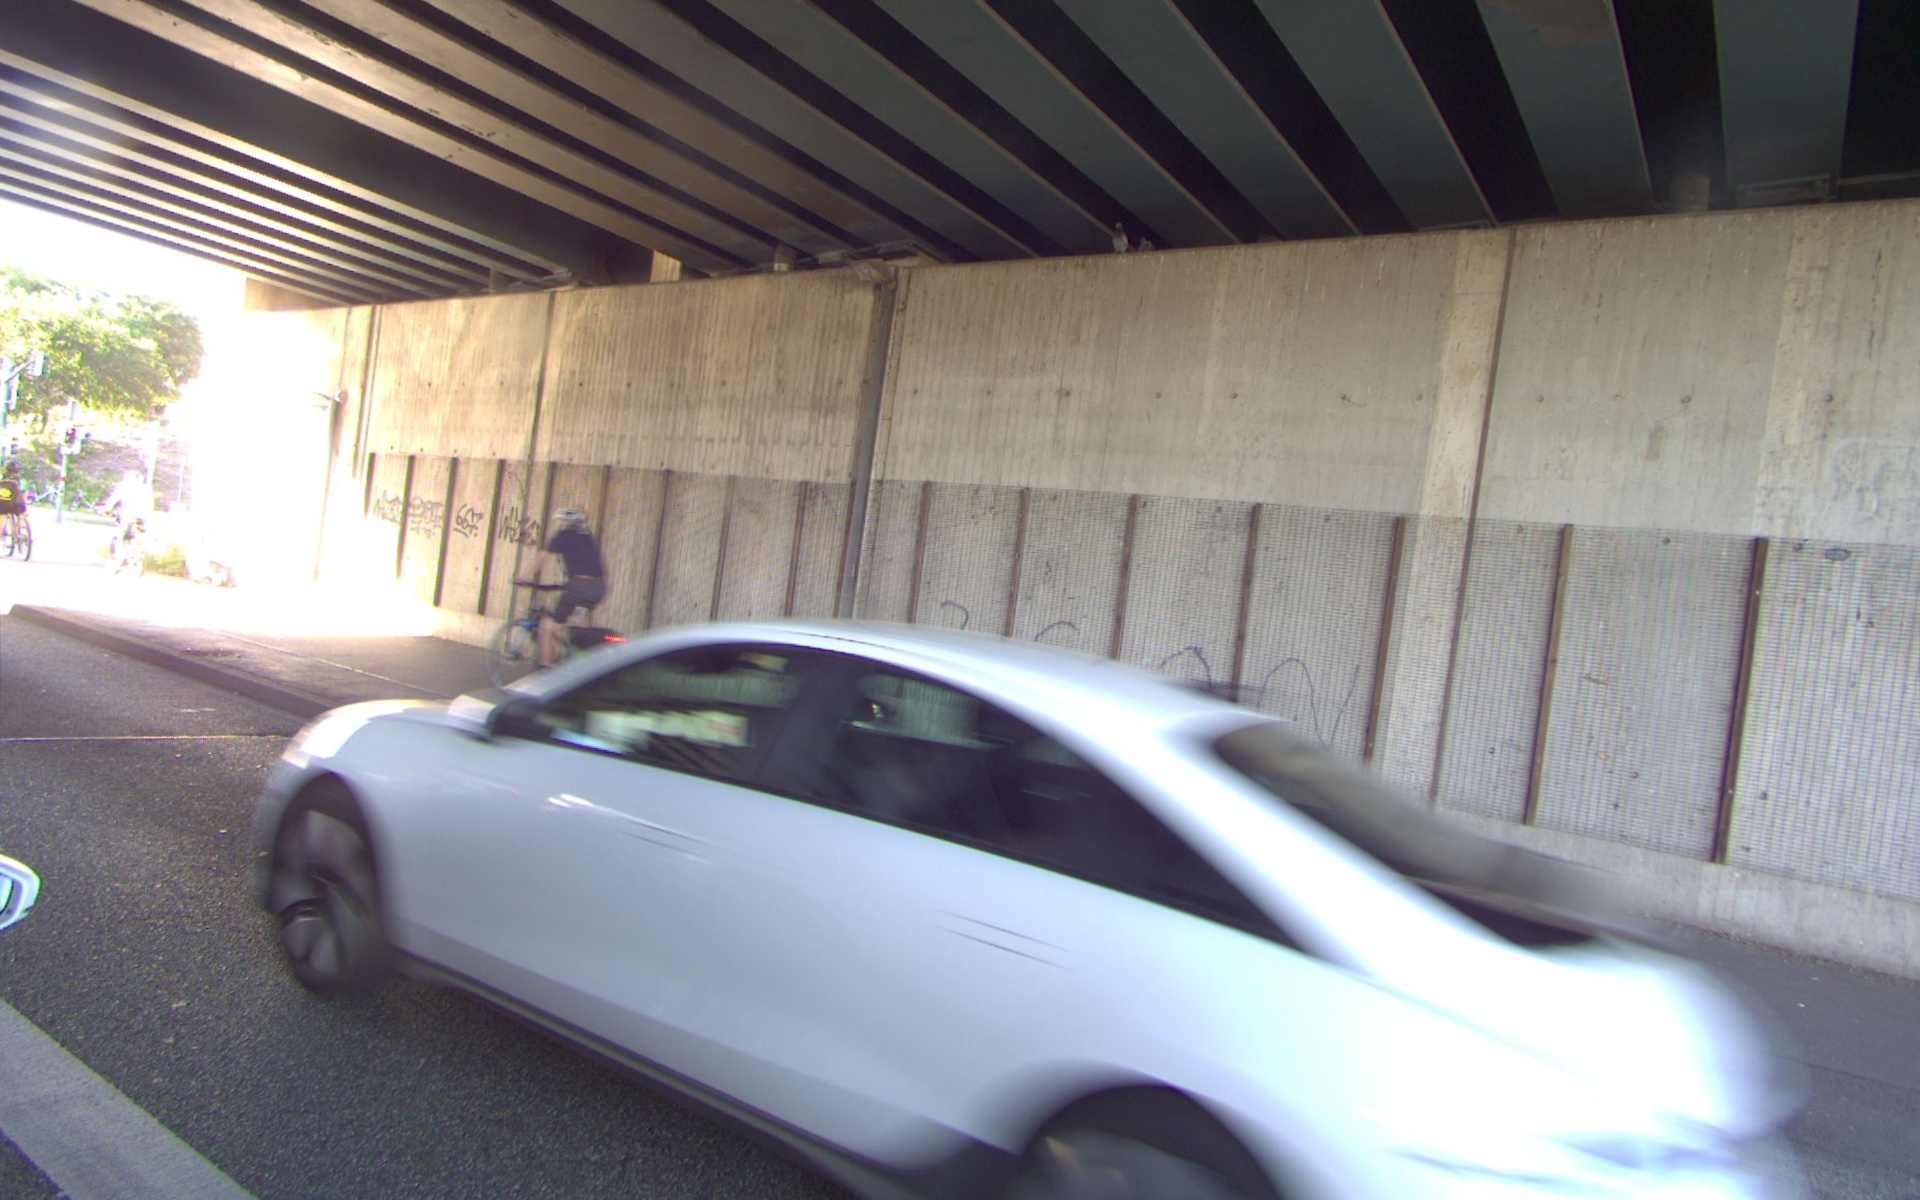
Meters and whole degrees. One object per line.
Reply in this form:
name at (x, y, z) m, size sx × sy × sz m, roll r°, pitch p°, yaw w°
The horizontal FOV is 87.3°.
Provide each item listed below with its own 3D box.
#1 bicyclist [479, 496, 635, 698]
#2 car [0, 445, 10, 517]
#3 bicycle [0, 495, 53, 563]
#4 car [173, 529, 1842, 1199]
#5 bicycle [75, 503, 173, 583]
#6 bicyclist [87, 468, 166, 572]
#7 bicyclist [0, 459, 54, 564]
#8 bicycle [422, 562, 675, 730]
bicyclist at (-3.634, -0.019, 9.099) m, size 0.871 × 1.674 × 0.748 m, roll 7°, pitch -1°, yaw 31°
car at (-10.946, -0.802, 9.384) m, size 4.228 × 1.855 × 1.817 m, roll 8°, pitch -1°, yaw 31°
bicycle at (-16.076, -1.222, 17.146) m, size 1.508 × 1.036 × 0.676 m, roll 6°, pitch -2°, yaw 43°
car at (-0.407, 0.793, 3.315) m, size 4.585 × 1.473 × 1.750 m, roll 7°, pitch -2°, yaw 30°
bicycle at (-13.691, -0.943, 16.472) m, size 1.577 × 1.126 × 0.682 m, roll 6°, pitch 0°, yaw 31°
bicyclist at (-13.639, -1.305, 16.469) m, size 0.723 × 1.581 × 0.671 m, roll 7°, pitch 0°, yaw 31°
bicyclist at (-16.054, -1.502, 17.161) m, size 0.635 × 1.647 × 0.676 m, roll 6°, pitch -2°, yaw 42°
bicycle at (-3.804, 0.375, 9.198) m, size 2.428 × 1.161 × 0.766 m, roll 8°, pitch 2°, yaw 31°
